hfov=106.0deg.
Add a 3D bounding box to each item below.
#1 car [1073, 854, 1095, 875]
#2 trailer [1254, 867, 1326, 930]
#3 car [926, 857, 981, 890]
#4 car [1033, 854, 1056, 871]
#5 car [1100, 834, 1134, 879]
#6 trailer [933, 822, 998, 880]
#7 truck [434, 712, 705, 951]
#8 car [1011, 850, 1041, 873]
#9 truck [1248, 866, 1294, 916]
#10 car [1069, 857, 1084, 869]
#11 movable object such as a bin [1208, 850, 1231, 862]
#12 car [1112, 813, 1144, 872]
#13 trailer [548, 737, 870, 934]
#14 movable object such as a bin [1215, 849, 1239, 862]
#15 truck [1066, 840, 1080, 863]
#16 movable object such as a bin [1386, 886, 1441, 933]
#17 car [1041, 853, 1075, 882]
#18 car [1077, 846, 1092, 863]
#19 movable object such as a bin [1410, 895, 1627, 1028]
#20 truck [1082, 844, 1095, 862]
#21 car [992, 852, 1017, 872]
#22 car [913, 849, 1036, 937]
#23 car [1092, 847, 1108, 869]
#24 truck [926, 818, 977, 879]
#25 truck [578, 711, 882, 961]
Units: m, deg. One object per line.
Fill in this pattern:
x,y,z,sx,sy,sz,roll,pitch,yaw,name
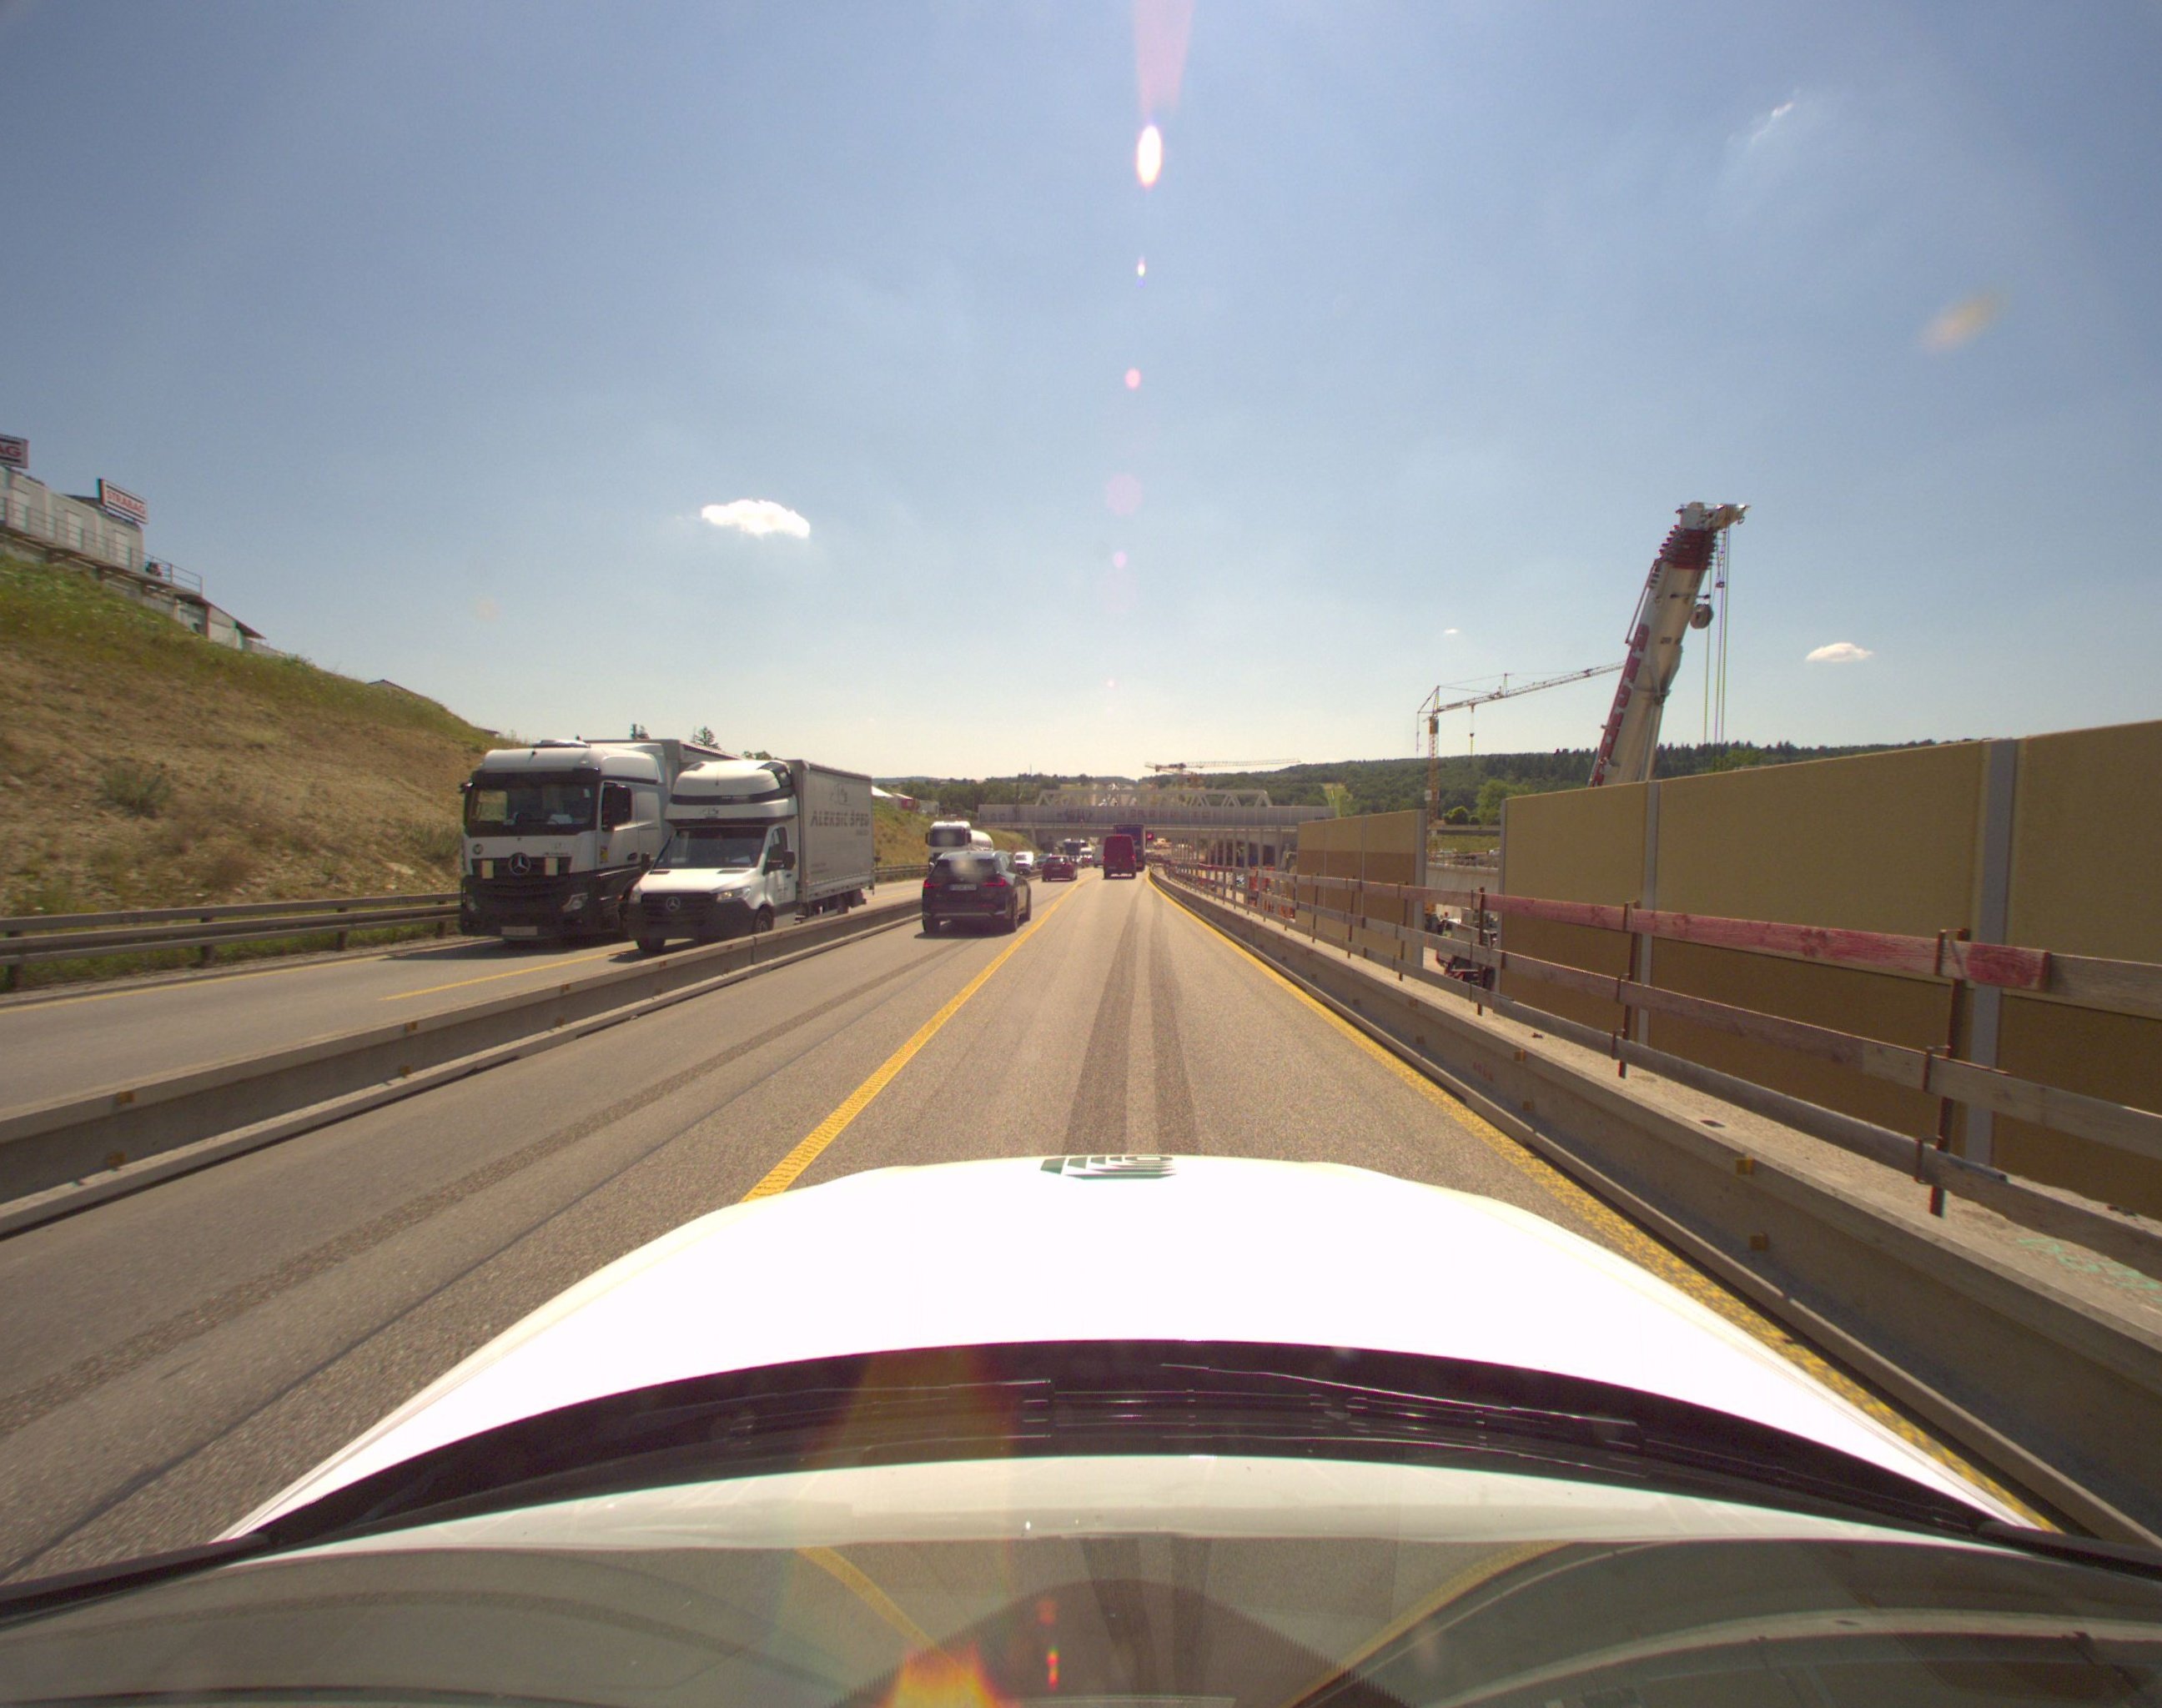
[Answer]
0.268,0.907,72.167,1.833,1.654,4.166,-1,0,1,car
15.172,3.023,60.271,2.747,3.886,13.061,0,0,3,trailer
-5.970,0.890,38.687,1.773,1.458,4.721,0,0,1,car
-3.514,0.834,79.808,1.783,1.611,4.736,0,0,3,car
2.299,0.141,51.037,1.980,2.690,4.628,-1,0,3,car
-8.135,-0.211,59.075,2.580,3.801,11.923,0,0,2,trailer
-9.612,-0.391,15.820,2.688,4.050,3.956,0,0,1,truck
-4.459,0.584,66.154,1.872,1.745,4.485,-1,0,2,car
15.647,2.987,67.546,2.747,3.886,5.887,0,0,3,truck
-0.622,1.208,108.545,1.794,1.447,4.639,0,0,2,car
30.827,0.428,181.214,5.118,2.807,2.147,0,0,7,movable object such as a bin
4.260,-1.041,75.218,2.611,5.032,10.401,-1,0,2,car
-9.422,-0.414,23.578,2.688,4.024,13.707,0,0,2,trailer
31.338,0.255,174.965,5.118,2.807,2.147,0,0,7,movable object such as a bin
-1.399,-0.424,142.898,2.350,4.015,4.000,0,0,0,truck
23.876,3.909,58.695,2.270,3.024,4.826,2,0,4,movable object such as a bin
-1.268,0.752,46.350,1.770,1.517,4.206,-1,0,1,car
0.598,0.082,128.574,1.986,2.606,7.015,0,0,2,car
15.131,3.488,29.299,2.955,3.487,9.153,2,0,1,movable object such as a bin
1.758,-0.261,186.488,2.824,3.852,12.917,0,0,2,truck
-7.332,0.754,78.338,1.784,1.763,4.538,-1,0,1,car
-2.107,0.721,17.455,1.872,1.618,4.501,-1,0,2,car
2.239,0.437,94.209,1.769,2.441,4.208,-1,0,2,car
-8.366,-0.334,52.991,2.580,3.801,3.768,0,0,2,truck
-6.184,-0.292,15.945,2.580,3.758,7.361,0,0,1,truck
